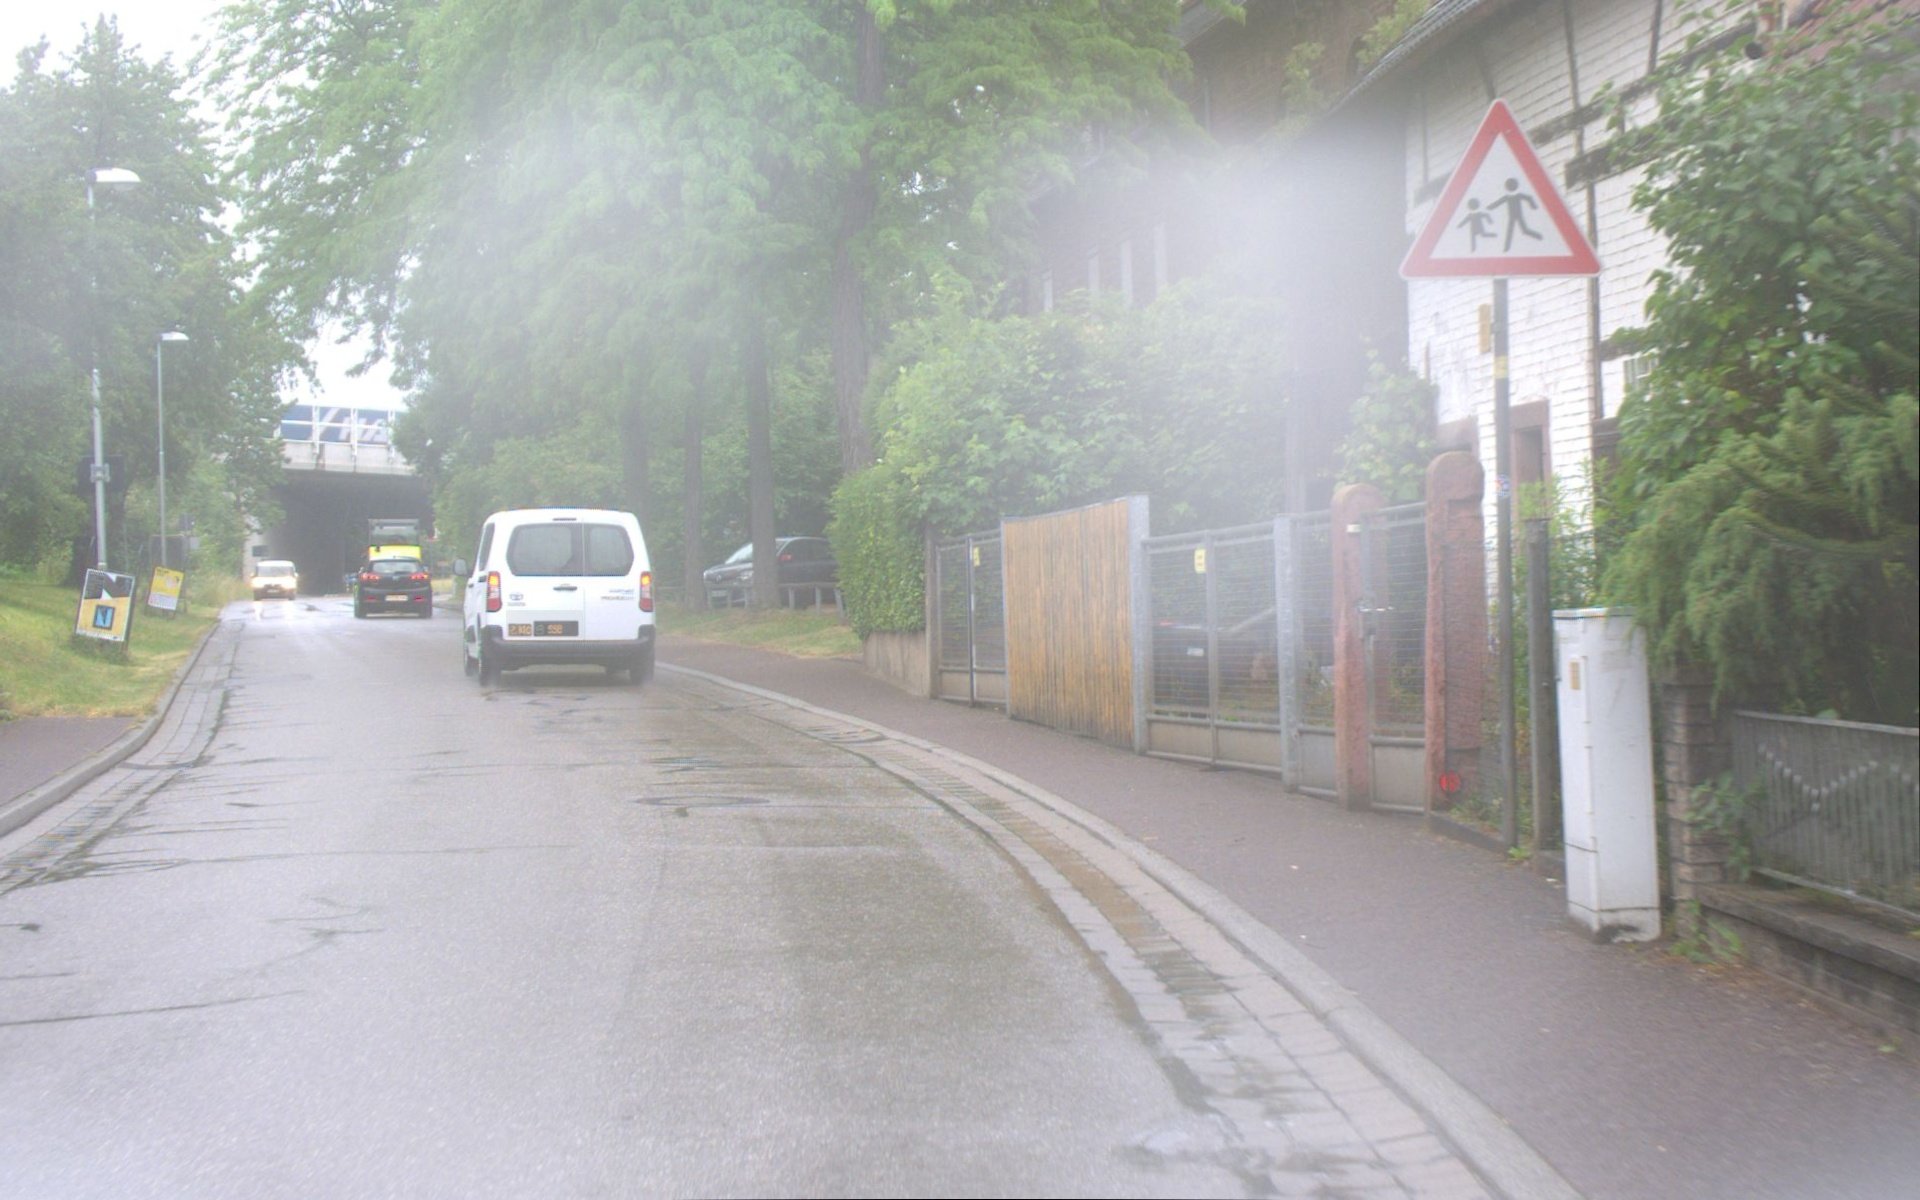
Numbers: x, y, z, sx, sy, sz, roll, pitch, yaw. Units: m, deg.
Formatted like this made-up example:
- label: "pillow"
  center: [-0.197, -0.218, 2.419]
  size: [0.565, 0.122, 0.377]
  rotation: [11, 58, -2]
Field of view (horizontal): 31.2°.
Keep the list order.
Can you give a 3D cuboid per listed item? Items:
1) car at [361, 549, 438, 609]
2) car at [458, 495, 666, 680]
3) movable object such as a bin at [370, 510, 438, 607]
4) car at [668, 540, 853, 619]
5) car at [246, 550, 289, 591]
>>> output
- label: "car"
  center: [-13.247, -0.481, 81.392]
  size: [1.708, 1.373, 4.001]
  rotation: [0, 0, -8]
- label: "car"
  center: [-4.257, -0.158, 36.306]
  size: [1.896, 1.801, 4.001]
  rotation: [-1, 1, -10]
- label: "movable object such as a bin"
  center: [-15.021, -1.094, 93.034]
  size: [1.761, 2.539, 4.240]
  rotation: [1, 0, -8]
- label: "car"
  center: [-4.047, -0.421, 70.089]
  size: [1.620, 1.546, 3.604]
  rotation: [-1, 0, 43]
- label: "car"
  center: [-31.153, -1.306, 154.619]
  size: [1.823, 1.825, 4.308]
  rotation: [0, 0, -12]
